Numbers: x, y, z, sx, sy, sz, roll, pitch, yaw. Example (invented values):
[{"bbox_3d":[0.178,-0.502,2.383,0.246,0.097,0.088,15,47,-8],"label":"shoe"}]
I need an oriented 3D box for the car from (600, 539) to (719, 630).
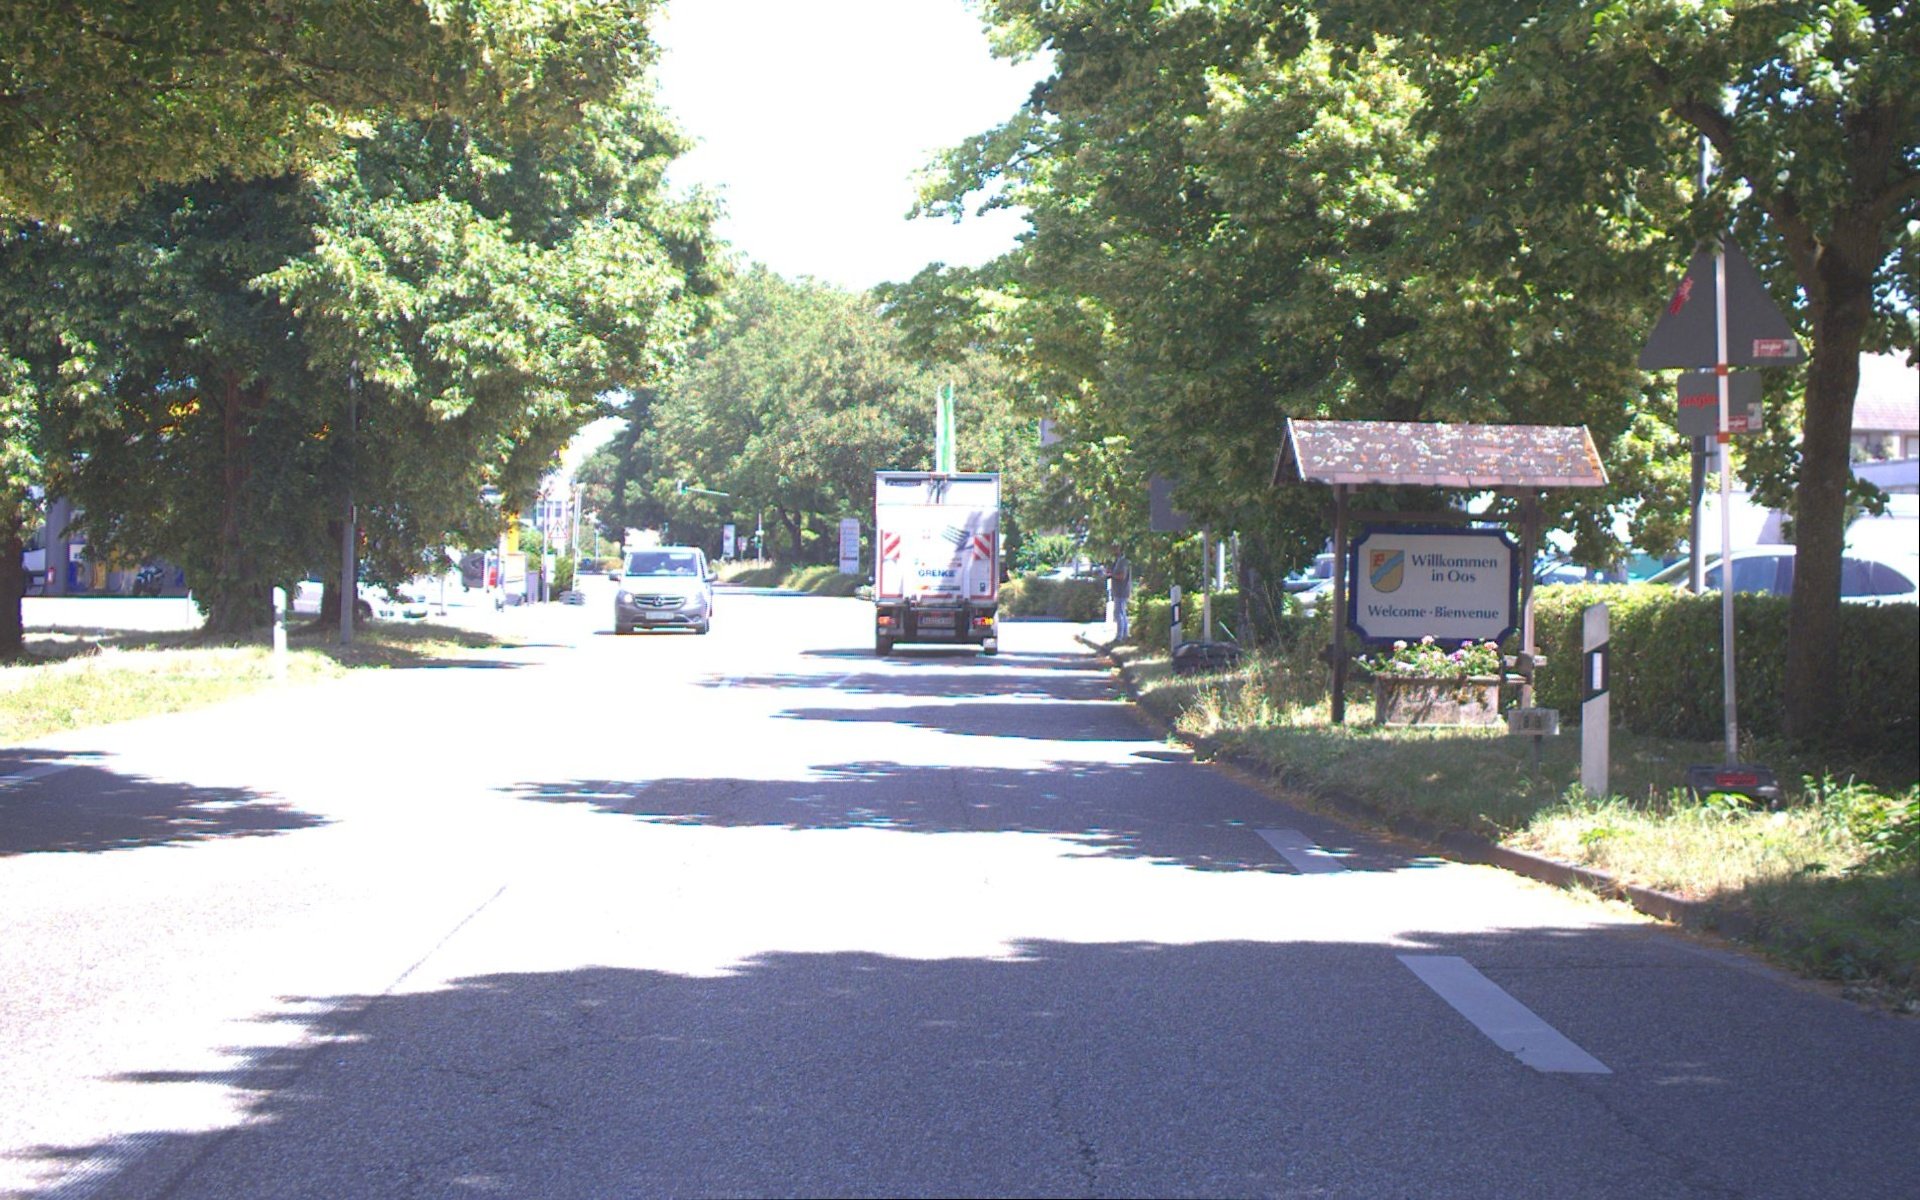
[{"bbox_3d":[-6.397,-0.352,72.704,1.993,1.850,5.317,0,1,-10],"label":"car"}]

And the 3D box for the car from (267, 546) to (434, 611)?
[{"bbox_3d":[-13.005,-0.465,73.333,3.428,1.357,1.333,1,1,28],"label":"car"}]

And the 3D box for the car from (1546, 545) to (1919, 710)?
[{"bbox_3d":[8.103,0.268,34.911,3.934,1.559,1.797,1,0,-1],"label":"car"}]

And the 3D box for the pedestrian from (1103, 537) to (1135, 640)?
[{"bbox_3d":[2.750,-0.206,59.457,0.548,1.770,0.577,0,0,4],"label":"pedestrian"}]

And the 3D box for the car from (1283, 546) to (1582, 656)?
[{"bbox_3d":[6.886,0.003,50.387,4.106,1.571,1.867,0,1,-1],"label":"car"}]

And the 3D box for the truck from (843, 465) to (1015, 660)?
[{"bbox_3d":[-0.460,-0.674,57.826,2.534,3.124,5.361,0,1,3],"label":"truck"}]
